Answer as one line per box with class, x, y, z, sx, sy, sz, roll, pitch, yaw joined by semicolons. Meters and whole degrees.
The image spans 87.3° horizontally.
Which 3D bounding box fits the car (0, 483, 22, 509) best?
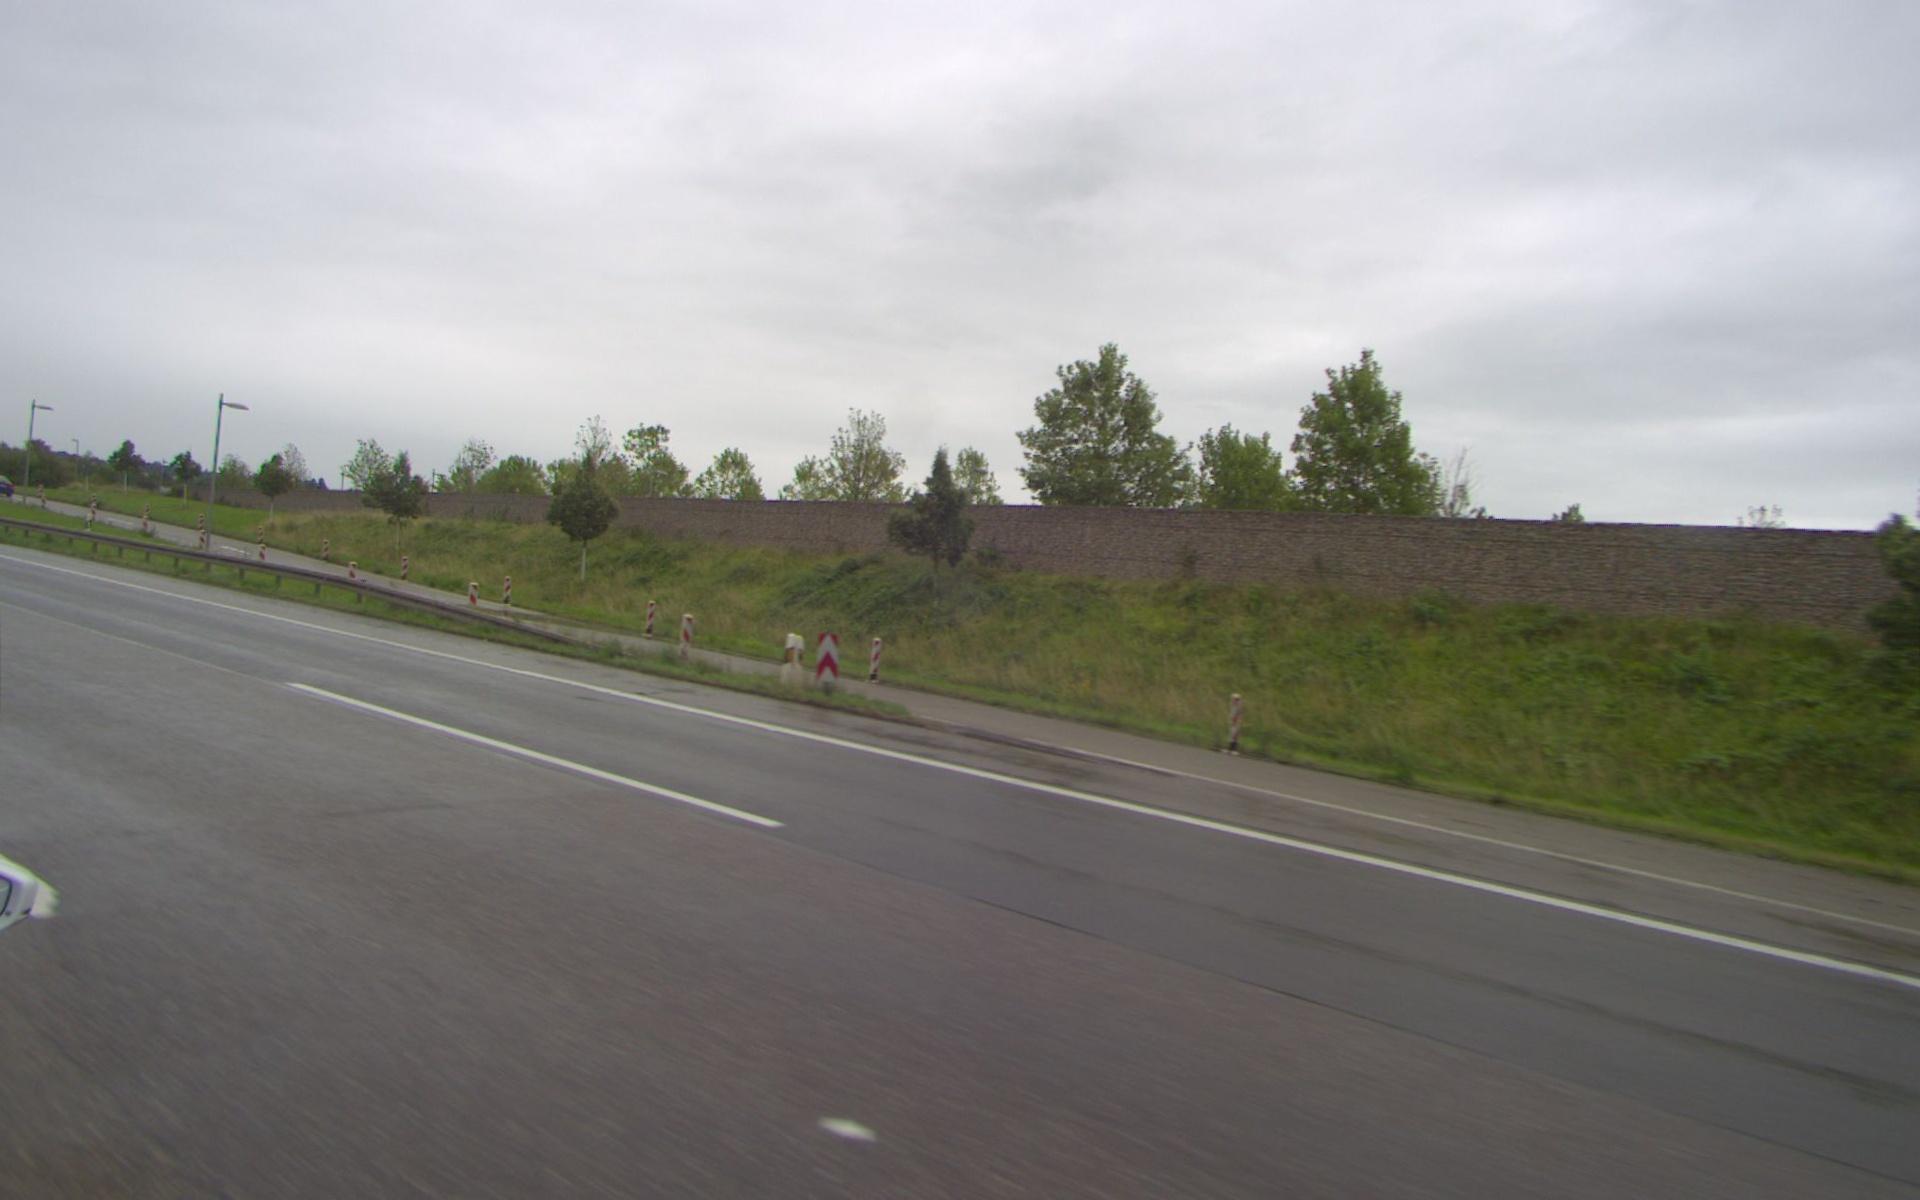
car;-71.288;-7.831;74.547;3.939;1.731;1.921;7;1;37
